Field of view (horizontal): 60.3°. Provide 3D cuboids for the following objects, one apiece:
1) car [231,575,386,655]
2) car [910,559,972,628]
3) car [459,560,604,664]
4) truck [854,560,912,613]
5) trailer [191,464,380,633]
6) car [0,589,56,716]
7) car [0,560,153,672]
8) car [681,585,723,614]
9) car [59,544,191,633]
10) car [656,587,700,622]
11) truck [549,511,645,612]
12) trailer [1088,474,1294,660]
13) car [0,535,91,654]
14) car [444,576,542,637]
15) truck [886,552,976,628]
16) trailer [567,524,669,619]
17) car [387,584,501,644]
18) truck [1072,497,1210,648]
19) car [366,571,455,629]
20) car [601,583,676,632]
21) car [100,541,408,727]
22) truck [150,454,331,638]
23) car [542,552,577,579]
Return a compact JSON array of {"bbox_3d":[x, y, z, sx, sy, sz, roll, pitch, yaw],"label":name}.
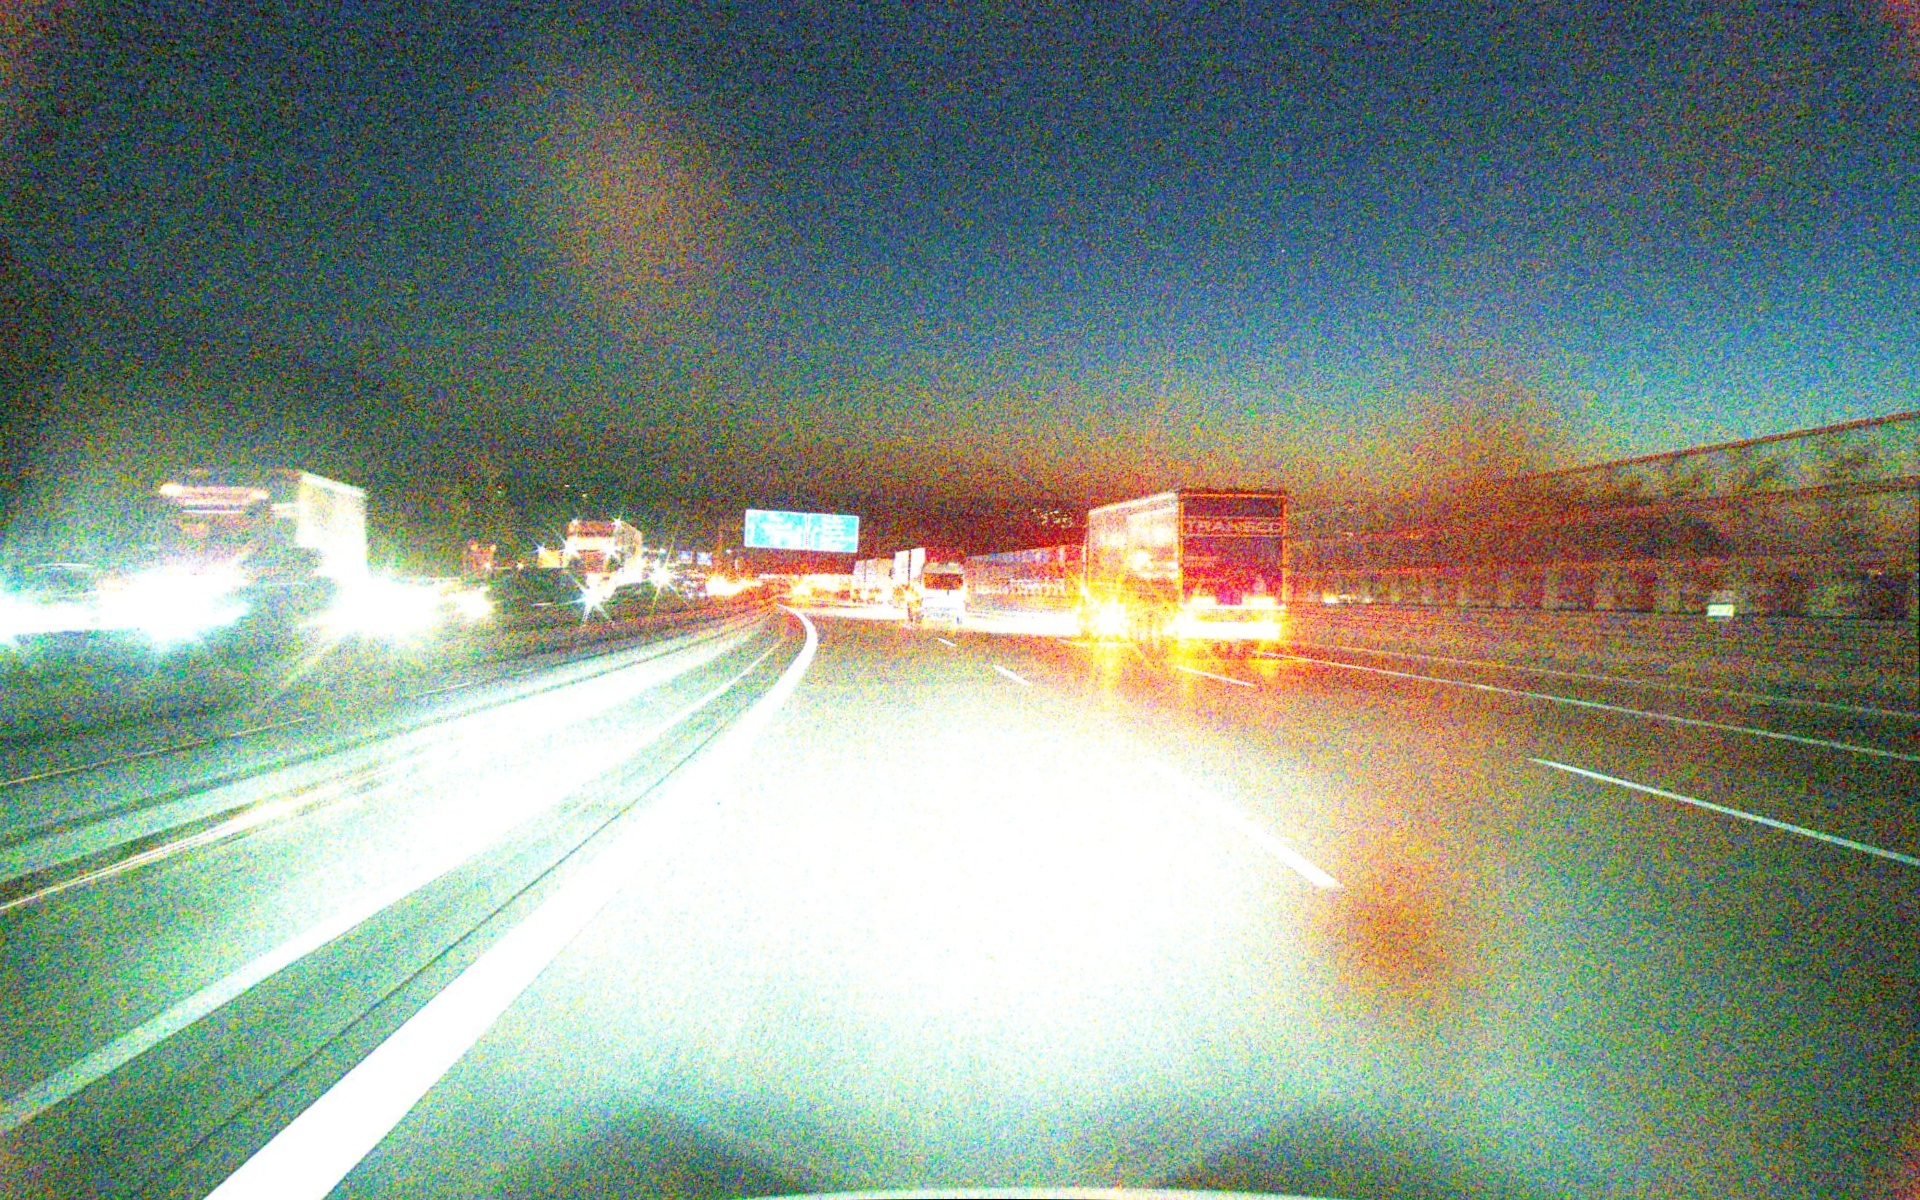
[{"bbox_3d":[-12.983,0.324,33.211,1.596,1.373,3.997,5,-2,-3],"label":"car"},{"bbox_3d":[-0.866,-0.223,71.451,2.291,2.686,5.242,3,-2,-4],"label":"car"},{"bbox_3d":[-8.841,0.250,34.610,1.838,1.956,5.600,1,-1,-3],"label":"car"},{"bbox_3d":[-7.333,-1.293,154.924,3.284,4.553,13.874,4,0,-11],"label":"truck"},{"bbox_3d":[-17.515,-1.253,43.592,2.769,3.986,8.719,0,0,-10],"label":"trailer"},{"bbox_3d":[-12.251,0.597,18.510,1.866,1.518,4.863,1,-1,-5],"label":"car"},{"bbox_3d":[-16.442,0.253,29.643,1.954,1.842,4.317,1,0,-3],"label":"car"},{"bbox_3d":[-14.110,-0.040,90.584,1.837,1.451,4.508,3,0,-4],"label":"car"},{"bbox_3d":[-21.320,-0.284,42.416,1.682,2.115,4.503,1,0,-9],"label":"car"},{"bbox_3d":[-12.270,0.187,72.104,1.670,1.451,4.505,1,0,-7],"label":"car"},{"bbox_3d":[-16.933,-1.688,77.639,3.047,4.168,7.070,4,-2,-3],"label":"truck"},{"bbox_3d":[5.734,-0.753,43.883,2.797,4.138,13.195,1,0,-3],"label":"trailer"},{"bbox_3d":[-20.826,-0.140,36.033,1.957,2.441,4.503,1,0,-9],"label":"car"},{"bbox_3d":[-15.069,0.207,53.618,1.953,1.842,4.746,1,0,-2],"label":"car"},{"bbox_3d":[-2.289,-0.528,114.538,3.841,4.708,20.980,1,-1,-8],"label":"truck"},{"bbox_3d":[-17.343,-1.301,84.854,3.030,4.159,12.439,4,-2,-3],"label":"trailer"},{"bbox_3d":[-13.551,0.354,43.667,1.909,1.468,4.645,1,0,-5],"label":"car"},{"bbox_3d":[5.326,-0.780,50.011,2.805,4.148,7.504,1,0,-4],"label":"truck"},{"bbox_3d":[-18.344,0.000,55.422,1.859,1.842,4.742,1,0,-6],"label":"car"},{"bbox_3d":[-10.208,0.216,52.792,1.875,1.468,4.645,1,0,-5],"label":"car"},{"bbox_3d":[-8.741,0.396,21.020,1.838,1.956,4.865,-4,0,-2],"label":"car"},{"bbox_3d":[-16.668,-1.193,38.660,2.776,3.985,4.923,0,0,-10],"label":"truck"},{"bbox_3d":[-23.838,-2.040,98.442,1.622,1.503,3.768,1,0,-8],"label":"car"}]
